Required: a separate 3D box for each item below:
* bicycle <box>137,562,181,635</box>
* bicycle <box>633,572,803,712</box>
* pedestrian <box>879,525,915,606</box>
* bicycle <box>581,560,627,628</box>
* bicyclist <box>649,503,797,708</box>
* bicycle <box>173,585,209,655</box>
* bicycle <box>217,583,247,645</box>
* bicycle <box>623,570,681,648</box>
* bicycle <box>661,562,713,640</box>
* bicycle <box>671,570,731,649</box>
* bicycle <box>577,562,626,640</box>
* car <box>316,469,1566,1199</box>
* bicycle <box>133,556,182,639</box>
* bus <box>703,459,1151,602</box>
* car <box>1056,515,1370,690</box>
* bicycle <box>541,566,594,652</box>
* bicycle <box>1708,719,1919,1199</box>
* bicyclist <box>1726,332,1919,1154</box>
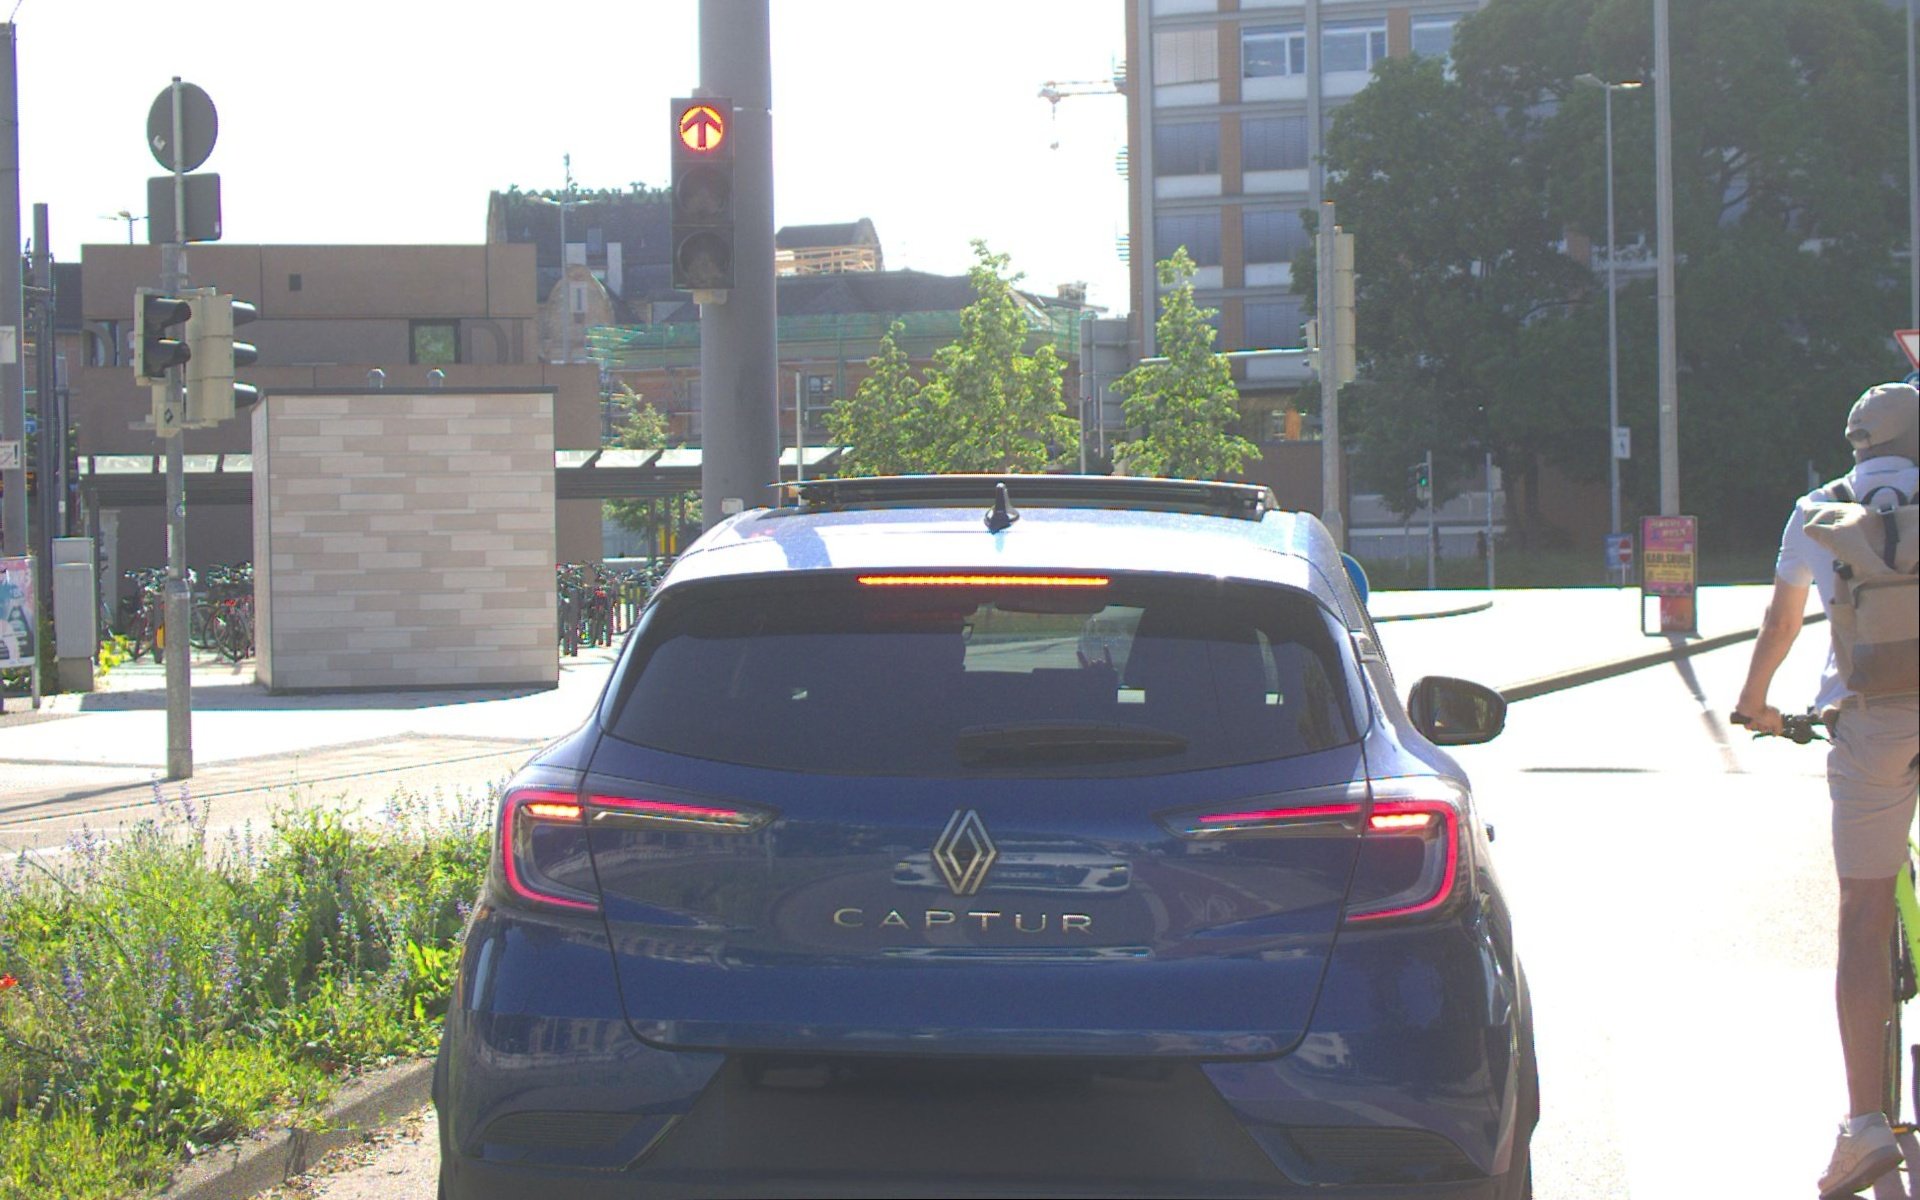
[{"bbox_3d":[-12.207,-0.019,52.412,0.565,1.090,2.030,0,0,-11],"label":"bicycle"},{"bbox_3d":[-1.961,0.327,28.148,0.773,1.077,2.034,-1,0,14],"label":"bicycle"},{"bbox_3d":[-1.435,-0.784,78.439,0.726,1.850,0.702,0,0,8],"label":"pedestrian"},{"bbox_3d":[-5.842,-0.092,56.342,0.580,1.084,1.872,0,0,-11],"label":"bicycle"},{"bbox_3d":[-1.935,0.040,28.185,0.880,1.639,1.060,-1,0,14],"label":"bicyclist"},{"bbox_3d":[-10.700,0.273,47.821,0.421,0.934,1.306,1,1,-15],"label":"bicycle"},{"bbox_3d":[-11.182,0.207,52.845,0.421,0.934,1.379,1,1,-11],"label":"bicycle"},{"bbox_3d":[-3.880,0.116,43.203,0.580,0.958,2.059,0,0,-9],"label":"bicycle"},{"bbox_3d":[-3.893,0.017,48.933,0.580,1.084,2.059,0,0,-9],"label":"bicycle"},{"bbox_3d":[-3.268,0.119,43.288,0.580,0.958,2.059,0,0,-9],"label":"bicycle"},{"bbox_3d":[-5.102,0.013,48.866,0.580,1.084,2.059,0,0,-9],"label":"bicycle"},{"bbox_3d":[0.124,0.580,6.841,1.823,1.594,3.658,1,1,5],"label":"car"},{"bbox_3d":[-10.754,-0.029,46.098,0.565,1.090,2.030,0,0,-11],"label":"bicycle"},{"bbox_3d":[-1.015,-1.665,86.894,12.434,3.384,2.876,0,0,40],"label":"bus"},{"bbox_3d":[2.315,-0.023,30.447,1.801,1.388,4.089,-1,2,18],"label":"car"},{"bbox_3d":[-4.898,0.112,42.830,0.580,1.054,1.817,0,0,-9],"label":"bicycle"},{"bbox_3d":[2.137,0.844,7.833,0.663,1.043,1.890,0,1,7],"label":"bicycle"},{"bbox_3d":[2.125,0.294,7.772,0.664,1.741,1.005,0,1,7],"label":"bicyclist"}]
